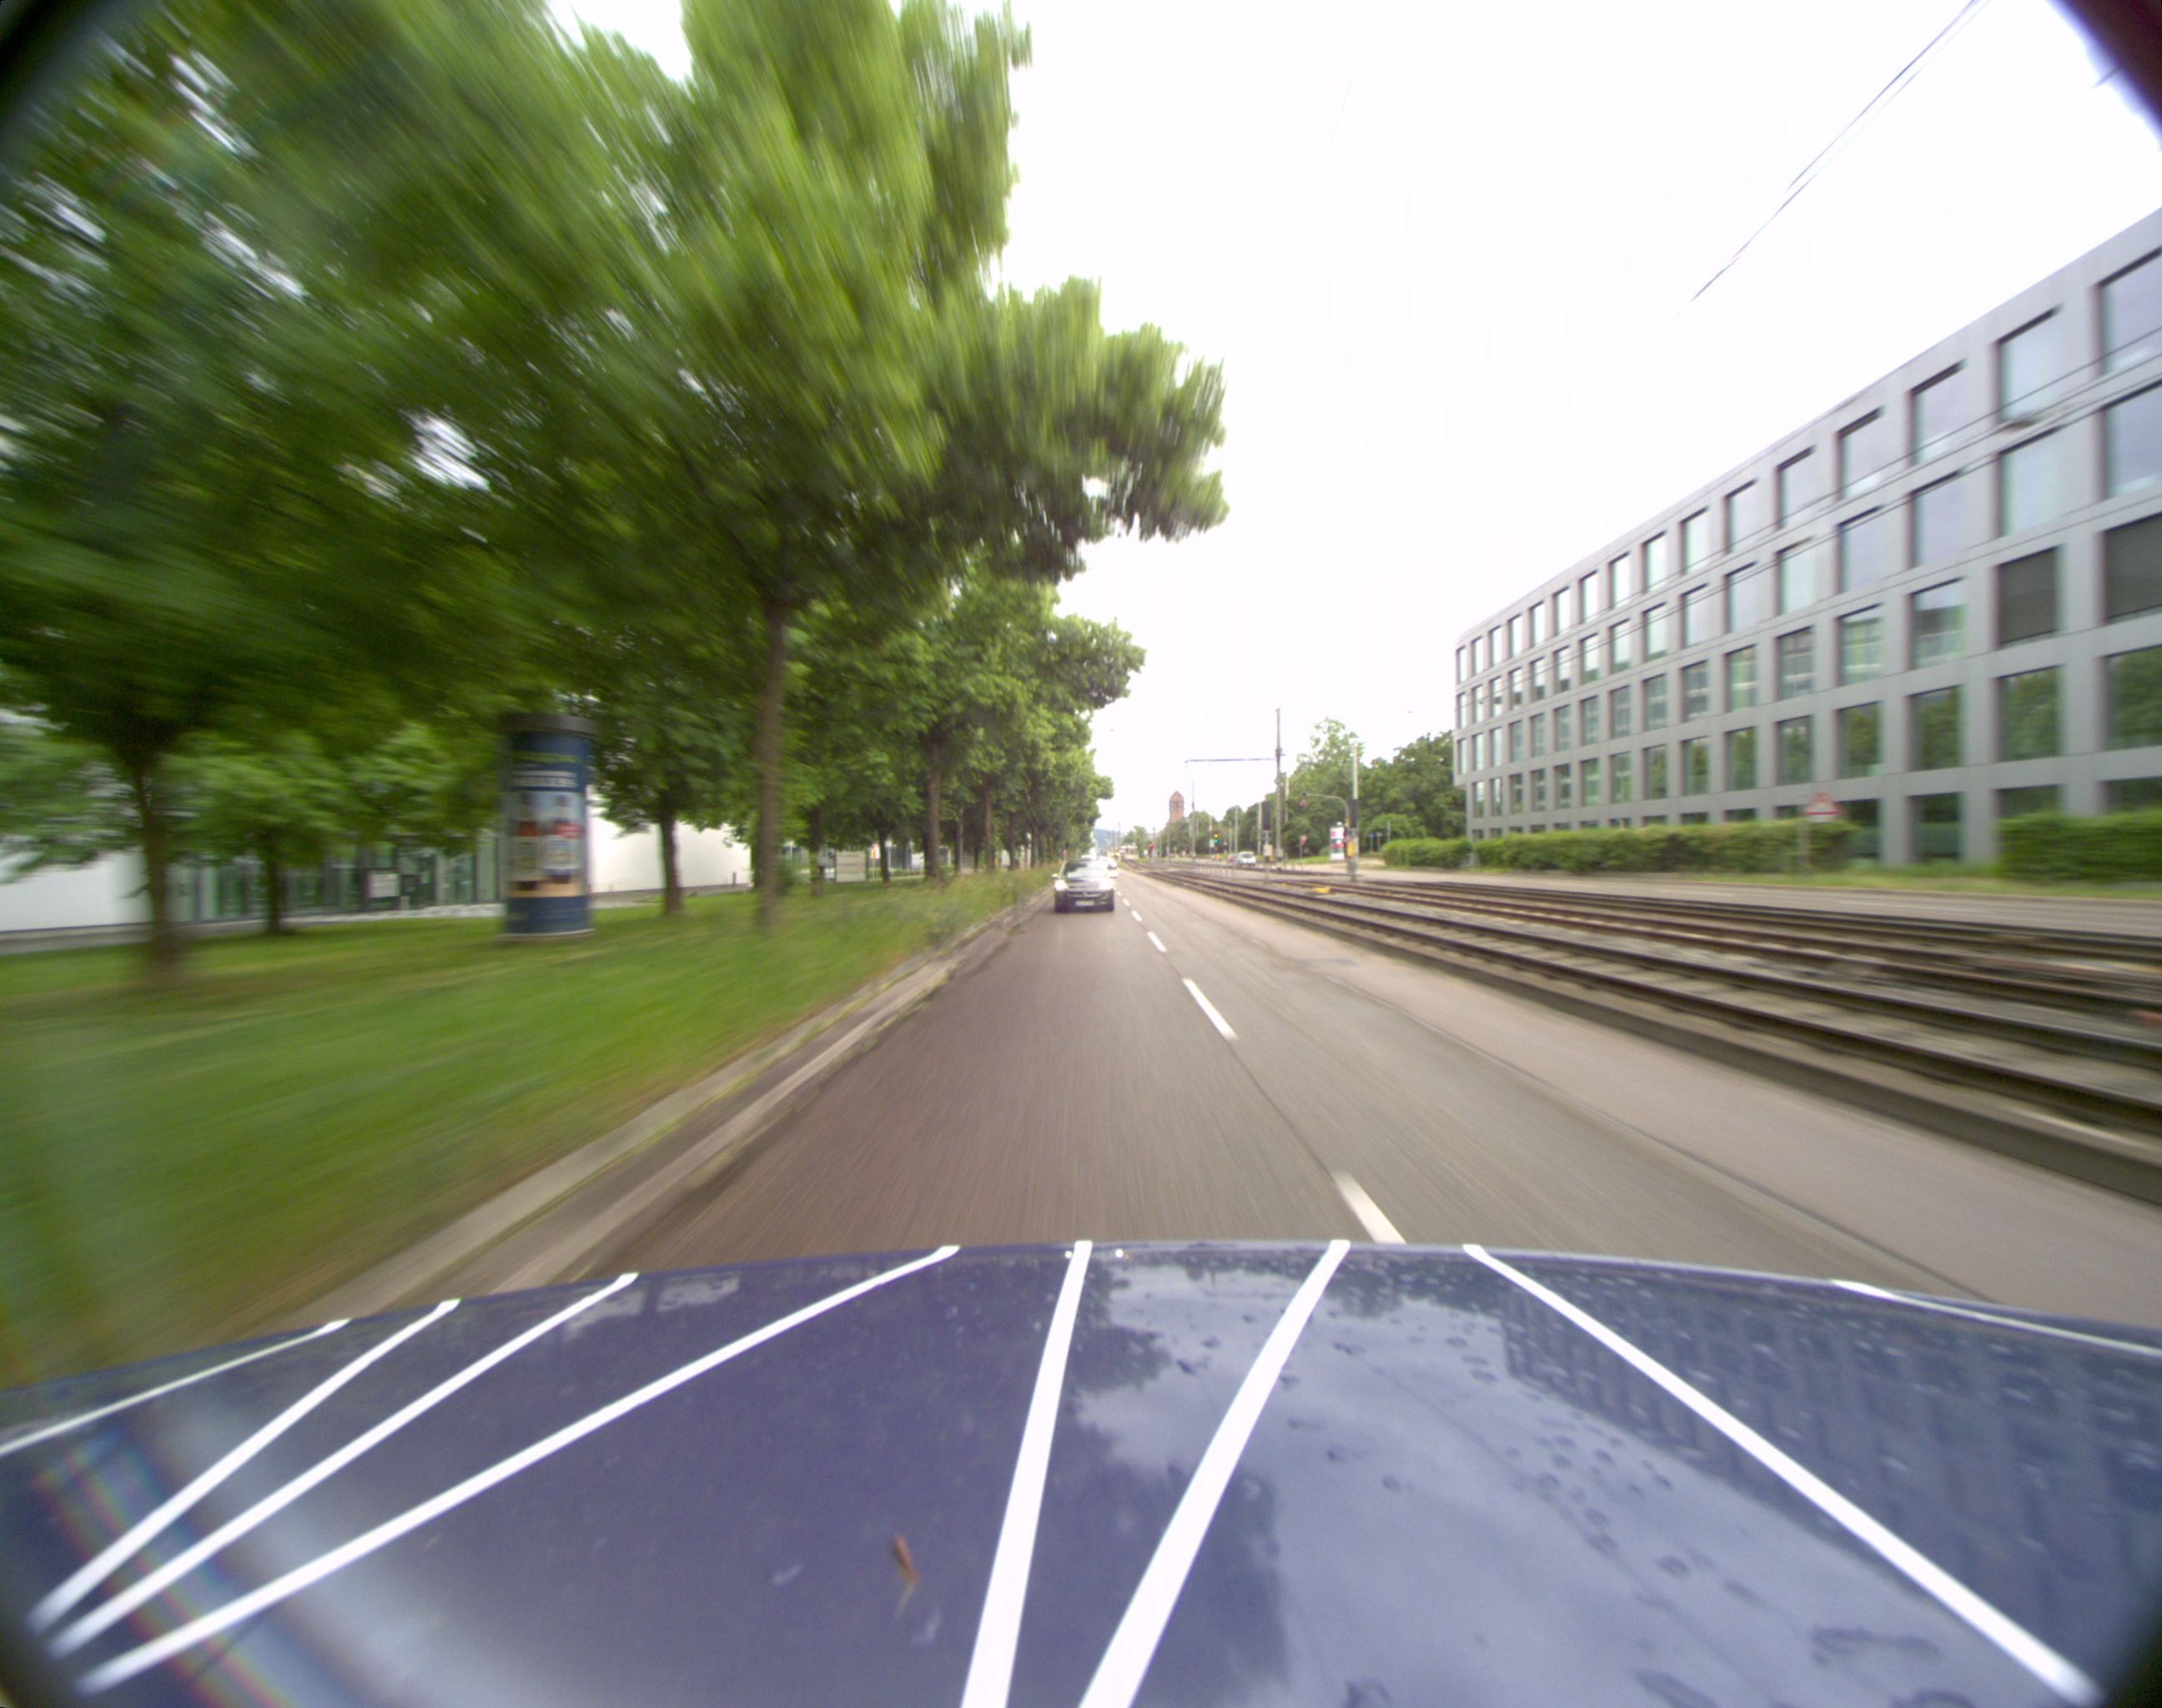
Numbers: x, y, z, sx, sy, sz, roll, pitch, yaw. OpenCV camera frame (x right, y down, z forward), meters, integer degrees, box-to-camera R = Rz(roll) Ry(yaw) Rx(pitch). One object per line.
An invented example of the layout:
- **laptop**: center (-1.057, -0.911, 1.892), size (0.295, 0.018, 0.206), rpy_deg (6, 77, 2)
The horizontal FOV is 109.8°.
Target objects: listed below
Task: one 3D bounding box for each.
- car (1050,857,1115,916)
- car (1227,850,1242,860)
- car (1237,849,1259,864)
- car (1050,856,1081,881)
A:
- **car**: center (0.120, 0.894, 22.966), size (1.698, 1.439, 4.420), rpy_deg (-3, 1, 2)
- **car**: center (24.768, 0.160, 122.346), size (1.775, 1.540, 3.564), rpy_deg (-1, 0, 2)
- **car**: center (19.563, 0.299, 89.160), size (1.812, 1.627, 3.564), rpy_deg (-1, 0, 1)
- **car**: center (-0.951, 0.904, 47.677), size (1.770, 1.439, 3.833), rpy_deg (-1, 0, 1)
